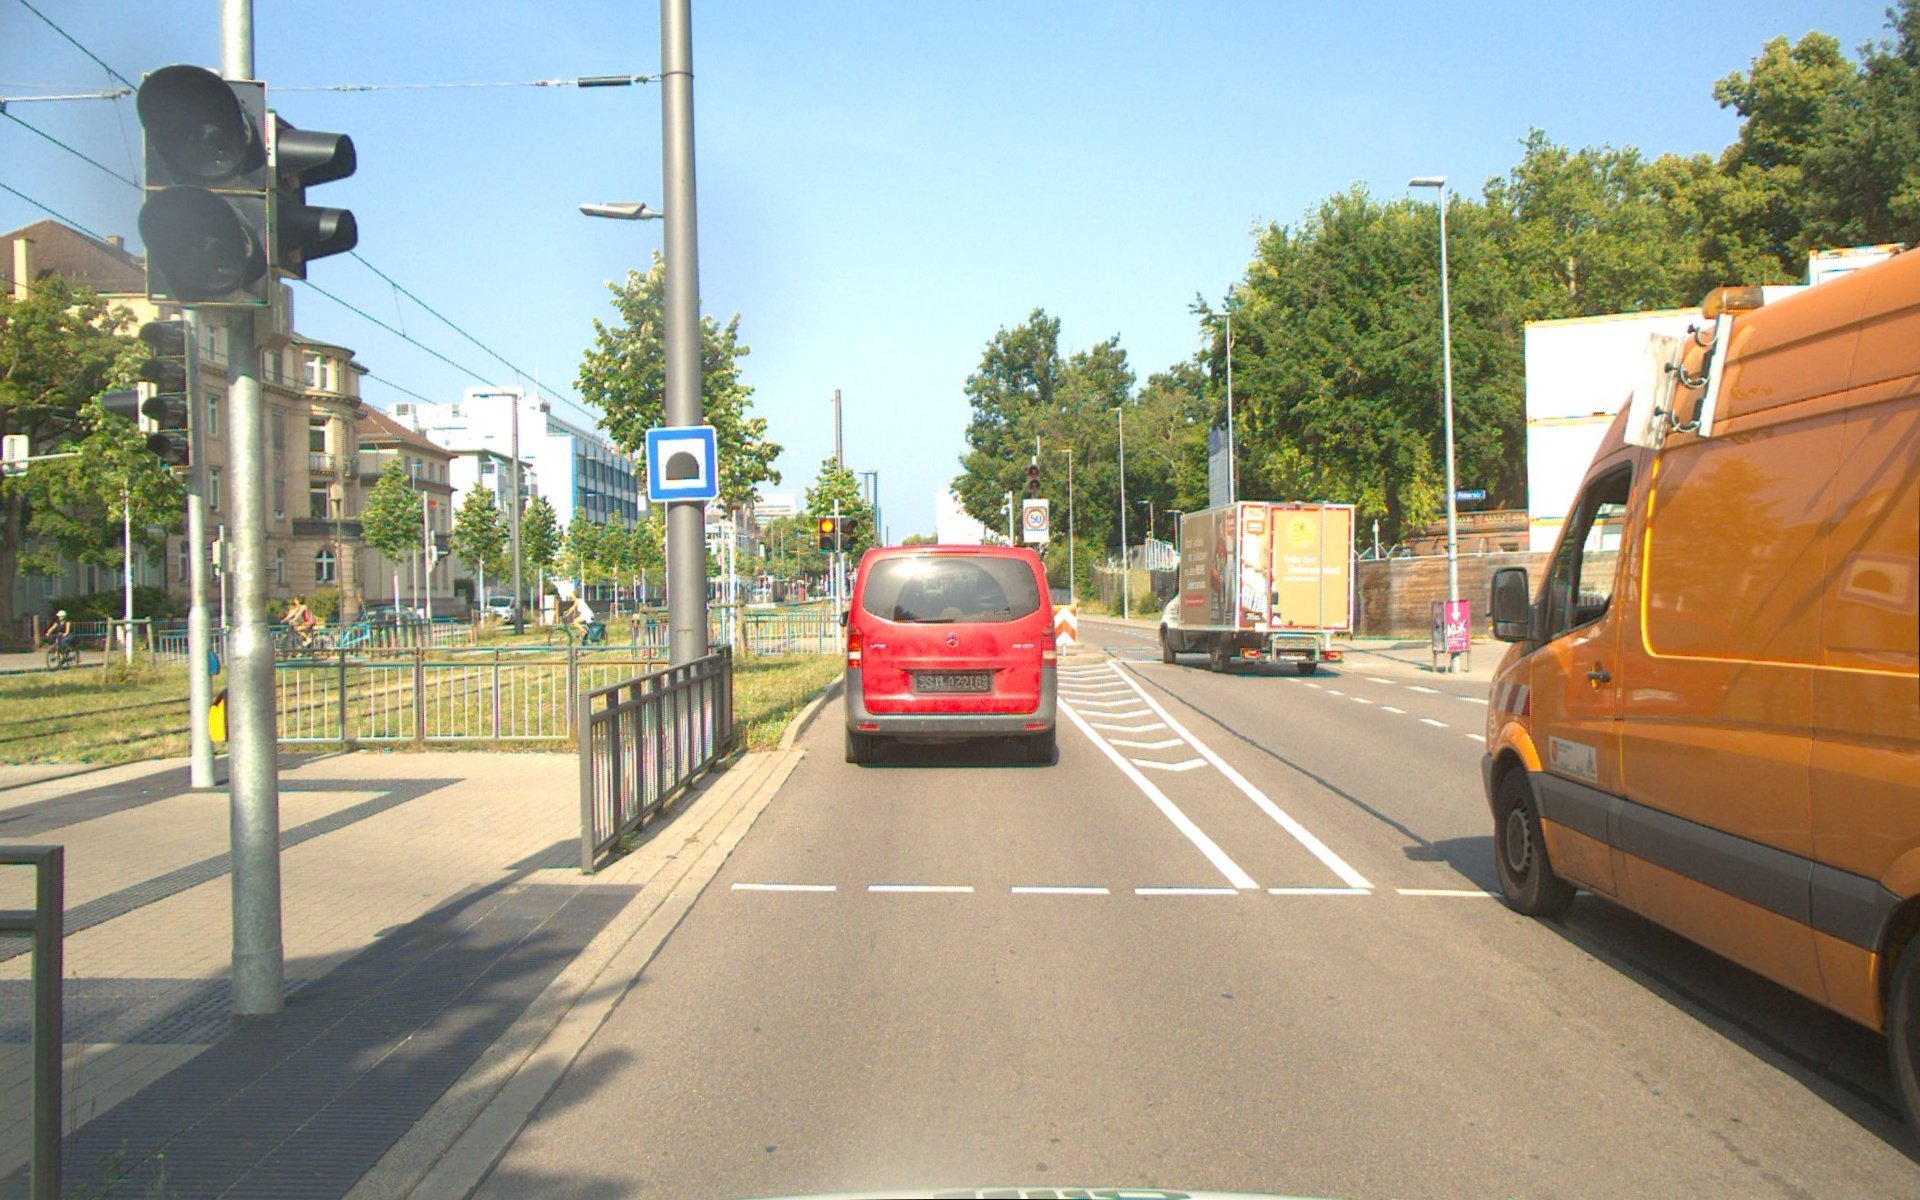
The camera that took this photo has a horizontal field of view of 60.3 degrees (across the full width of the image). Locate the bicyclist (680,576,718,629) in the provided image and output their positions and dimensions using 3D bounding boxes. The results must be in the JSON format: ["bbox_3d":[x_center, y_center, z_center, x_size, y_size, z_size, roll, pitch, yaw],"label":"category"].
[{"bbox_3d":[-7.229,0.073,45.813,0.672,1.466,0.805,1,-1,27],"label":"bicyclist"}]

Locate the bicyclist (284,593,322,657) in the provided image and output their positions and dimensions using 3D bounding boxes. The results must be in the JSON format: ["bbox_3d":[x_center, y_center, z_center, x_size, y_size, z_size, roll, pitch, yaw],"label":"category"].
[{"bbox_3d":[-17.474,0.652,44.008,0.877,1.657,0.887,-1,0,-20],"label":"bicyclist"}]

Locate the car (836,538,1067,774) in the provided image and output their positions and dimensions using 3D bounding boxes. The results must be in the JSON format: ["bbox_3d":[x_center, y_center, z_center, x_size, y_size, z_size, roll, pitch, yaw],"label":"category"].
[{"bbox_3d":[-0.023,0.450,15.446,1.862,1.892,4.001,1,0,1],"label":"car"}]

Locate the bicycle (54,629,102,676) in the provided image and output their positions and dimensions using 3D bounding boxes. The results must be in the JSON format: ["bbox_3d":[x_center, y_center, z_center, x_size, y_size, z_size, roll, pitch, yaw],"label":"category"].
[{"bbox_3d":[-26.981,1.584,50.622,0.681,1.369,1.755,-1,0,-6],"label":"bicycle"}]

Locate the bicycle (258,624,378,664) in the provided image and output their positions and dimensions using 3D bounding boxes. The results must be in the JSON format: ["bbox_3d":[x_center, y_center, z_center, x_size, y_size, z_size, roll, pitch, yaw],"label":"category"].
[{"bbox_3d":[-17.123,1.166,44.161,2.946,0.982,0.894,-1,0,-22],"label":"bicycle"}]

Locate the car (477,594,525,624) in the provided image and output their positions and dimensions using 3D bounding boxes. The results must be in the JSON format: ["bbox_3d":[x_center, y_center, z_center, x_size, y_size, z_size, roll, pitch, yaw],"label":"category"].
[{"bbox_3d":[-33.121,0.681,119.529,2.205,2.049,5.259,1,-2,-3],"label":"car"}]

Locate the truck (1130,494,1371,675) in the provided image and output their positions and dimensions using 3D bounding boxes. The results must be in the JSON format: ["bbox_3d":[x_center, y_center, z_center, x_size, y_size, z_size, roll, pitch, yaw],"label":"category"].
[{"bbox_3d":[5.481,-0.249,32.719,2.455,3.114,7.807,1,0,-7],"label":"truck"}]

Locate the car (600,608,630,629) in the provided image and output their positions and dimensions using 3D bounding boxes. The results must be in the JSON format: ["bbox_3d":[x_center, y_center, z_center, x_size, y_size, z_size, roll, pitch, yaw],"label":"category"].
[{"bbox_3d":[-30.839,1.620,148.099,1.879,1.844,3.999,1,0,-1],"label":"car"}]

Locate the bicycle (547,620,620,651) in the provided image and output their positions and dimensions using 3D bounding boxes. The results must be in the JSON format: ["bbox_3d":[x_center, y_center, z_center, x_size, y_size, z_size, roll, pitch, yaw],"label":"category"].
[{"bbox_3d":[-10.669,0.993,46.940,1.959,0.807,0.628,-1,0,-8],"label":"bicycle"}]

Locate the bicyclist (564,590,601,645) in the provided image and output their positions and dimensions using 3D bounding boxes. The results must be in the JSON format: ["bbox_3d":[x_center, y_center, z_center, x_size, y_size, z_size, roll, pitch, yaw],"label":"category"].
[{"bbox_3d":[-10.708,0.499,46.936,0.965,1.526,0.619,-1,0,-9],"label":"bicyclist"}]

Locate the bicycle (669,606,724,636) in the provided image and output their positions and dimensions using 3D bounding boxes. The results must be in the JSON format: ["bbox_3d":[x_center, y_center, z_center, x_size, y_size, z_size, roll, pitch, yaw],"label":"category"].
[{"bbox_3d":[-7.278,0.583,45.709,0.704,0.812,1.602,1,-1,26],"label":"bicycle"}]

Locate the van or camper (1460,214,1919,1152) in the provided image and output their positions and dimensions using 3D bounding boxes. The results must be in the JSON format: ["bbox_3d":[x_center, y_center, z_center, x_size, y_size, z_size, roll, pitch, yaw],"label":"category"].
[{"bbox_3d":[3.580,0.215,5.761,1.945,2.515,6.062,1,0,1],"label":"van or camper"}]

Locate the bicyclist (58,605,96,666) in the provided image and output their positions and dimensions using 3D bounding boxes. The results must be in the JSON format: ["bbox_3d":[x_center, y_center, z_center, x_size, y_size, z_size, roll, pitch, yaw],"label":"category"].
[{"bbox_3d":[-26.984,1.067,50.567,0.656,1.837,1.082,-1,0,-7],"label":"bicyclist"}]
